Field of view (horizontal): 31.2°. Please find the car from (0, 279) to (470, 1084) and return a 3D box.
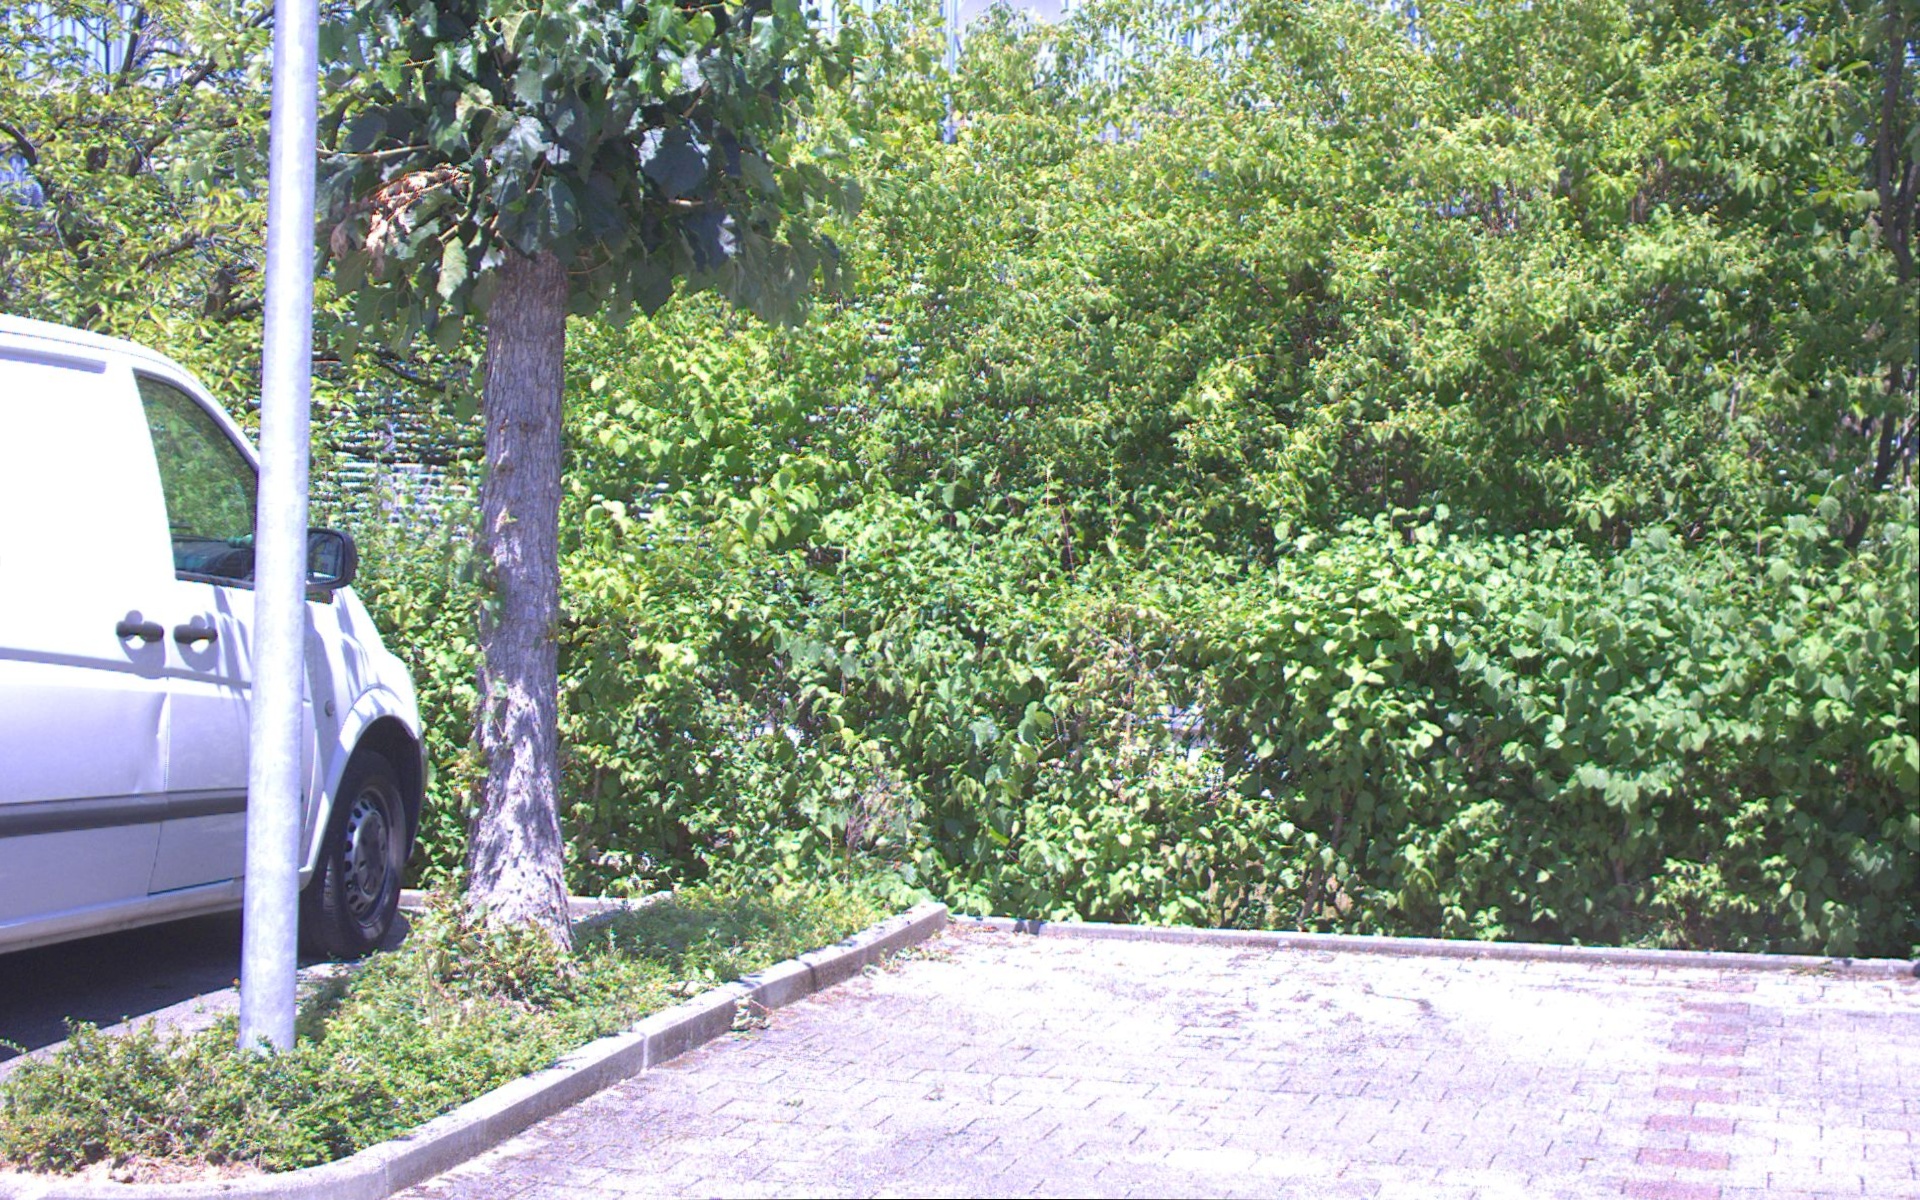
[{"bbox_3d":[-3.042,0.152,8.983,1.914,1.898,4.806,1,2,12],"label":"car"}]
